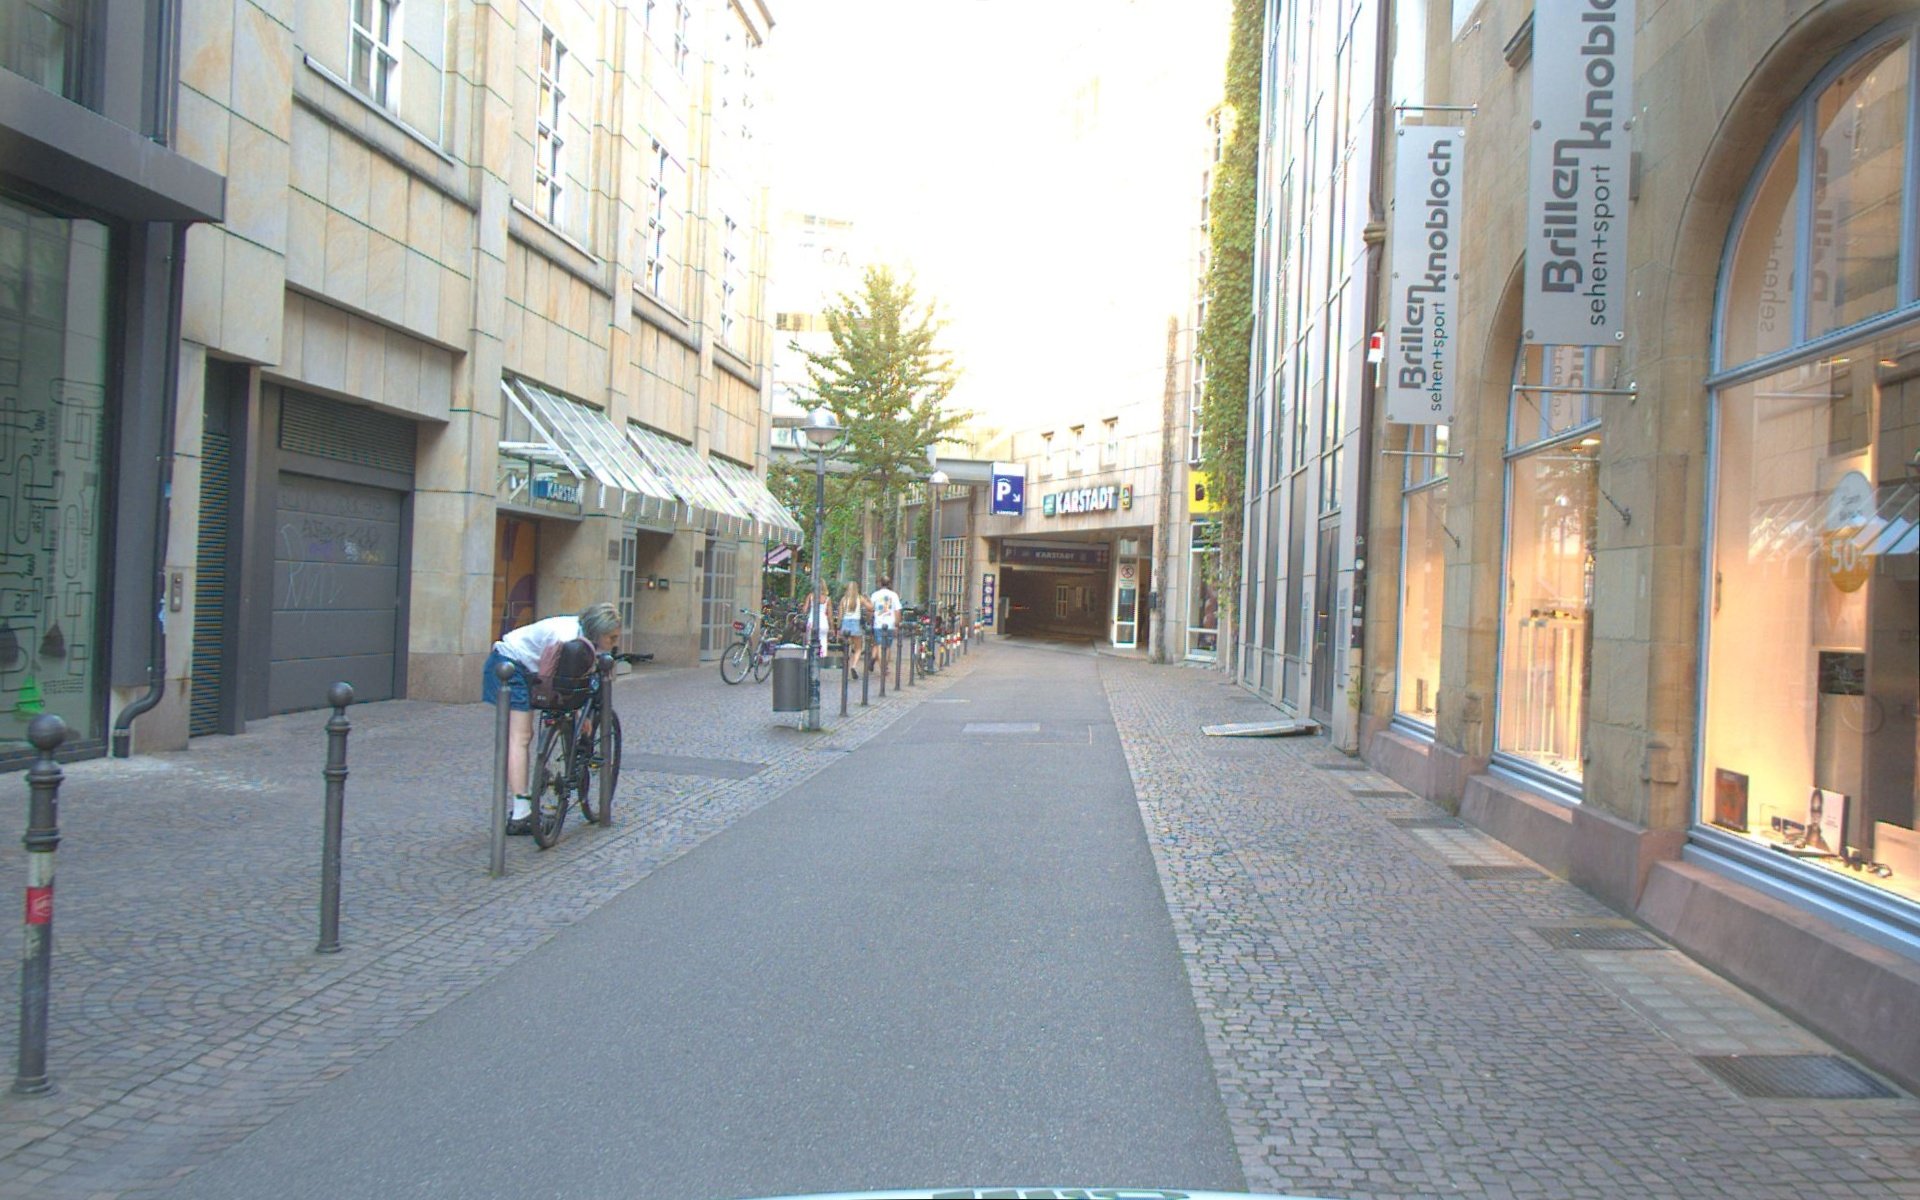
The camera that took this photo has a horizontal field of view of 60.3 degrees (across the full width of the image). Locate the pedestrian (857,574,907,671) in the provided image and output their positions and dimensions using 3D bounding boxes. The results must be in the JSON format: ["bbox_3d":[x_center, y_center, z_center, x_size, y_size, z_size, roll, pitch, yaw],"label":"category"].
[{"bbox_3d":[-1.498,0.422,31.865,0.768,1.826,0.973,2,0,6],"label":"pedestrian"}]

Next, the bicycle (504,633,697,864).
[{"bbox_3d":[-2.107,0.825,9.936,0.521,1.173,1.916,4,0,5],"label":"bicycle"}]

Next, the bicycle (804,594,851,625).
[{"bbox_3d":[-5.165,0.377,64.447,1.745,1.134,0.540,2,0,-17],"label":"bicycle"}]

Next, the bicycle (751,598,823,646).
[{"bbox_3d":[-4.597,0.588,43.999,1.805,1.246,0.531,1,0,-19],"label":"bicycle"}]

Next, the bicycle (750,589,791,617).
[{"bbox_3d":[-8.659,0.124,75.647,1.745,1.211,0.583,2,0,-17],"label":"bicycle"}]

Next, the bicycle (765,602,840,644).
[{"bbox_3d":[-4.130,0.608,43.296,1.865,1.070,0.531,1,0,-19],"label":"bicycle"}]

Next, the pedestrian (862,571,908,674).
[{"bbox_3d":[-1.387,0.407,30.706,0.727,1.854,0.878,2,0,2],"label":"pedestrian"}]

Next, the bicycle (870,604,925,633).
[{"bbox_3d":[-2.050,0.608,54.160,1.745,0.920,0.461,2,0,-17],"label":"bicycle"}]

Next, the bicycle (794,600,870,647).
[{"bbox_3d":[-3.232,0.588,41.755,1.808,1.142,0.531,1,0,-19],"label":"bicycle"}]

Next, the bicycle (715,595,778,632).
[{"bbox_3d":[-6.413,0.415,49.662,1.797,1.061,0.531,1,0,-19],"label":"bicycle"}]

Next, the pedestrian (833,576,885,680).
[{"bbox_3d":[-1.765,0.480,28.896,0.790,1.759,0.948,2,0,0],"label":"pedestrian"}]

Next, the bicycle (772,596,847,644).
[{"bbox_3d":[-3.887,0.505,42.750,1.844,1.198,0.531,1,0,-19],"label":"bicycle"}]

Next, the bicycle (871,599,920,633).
[{"bbox_3d":[-2.140,0.537,55.137,1.515,1.067,0.573,2,0,-17],"label":"bicycle"}]

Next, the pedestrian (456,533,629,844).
[{"bbox_3d":[-2.476,0.507,9.854,0.752,1.748,0.592,4,0,3],"label":"pedestrian"}]

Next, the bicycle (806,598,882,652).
[{"bbox_3d":[-2.775,0.595,39.553,1.739,1.252,0.531,1,0,-19],"label":"bicycle"}]

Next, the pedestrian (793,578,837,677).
[{"bbox_3d":[-2.547,0.478,29.091,0.661,1.693,0.860,2,0,-2],"label":"pedestrian"}]

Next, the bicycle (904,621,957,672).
[{"bbox_3d":[-0.578,0.917,32.963,0.482,0.955,1.660,3,0,18],"label":"bicycle"}]

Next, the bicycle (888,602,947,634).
[{"bbox_3d":[-1.380,0.586,53.267,1.818,0.999,0.461,2,0,-17],"label":"bicycle"}]

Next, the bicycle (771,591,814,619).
[{"bbox_3d":[-7.130,0.228,70.352,1.743,1.134,0.541,2,0,-14],"label":"bicycle"}]

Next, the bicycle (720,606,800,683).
[{"bbox_3d":[-3.157,0.690,26.287,0.511,1.157,1.765,2,0,20],"label":"bicycle"}]

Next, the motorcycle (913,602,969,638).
[{"bbox_3d":[-0.591,0.625,51.492,1.636,1.069,0.461,2,0,-17],"label":"motorcycle"}]

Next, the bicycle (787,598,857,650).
[{"bbox_3d":[-3.398,0.596,40.871,1.628,1.252,0.531,1,0,-19],"label":"bicycle"}]
